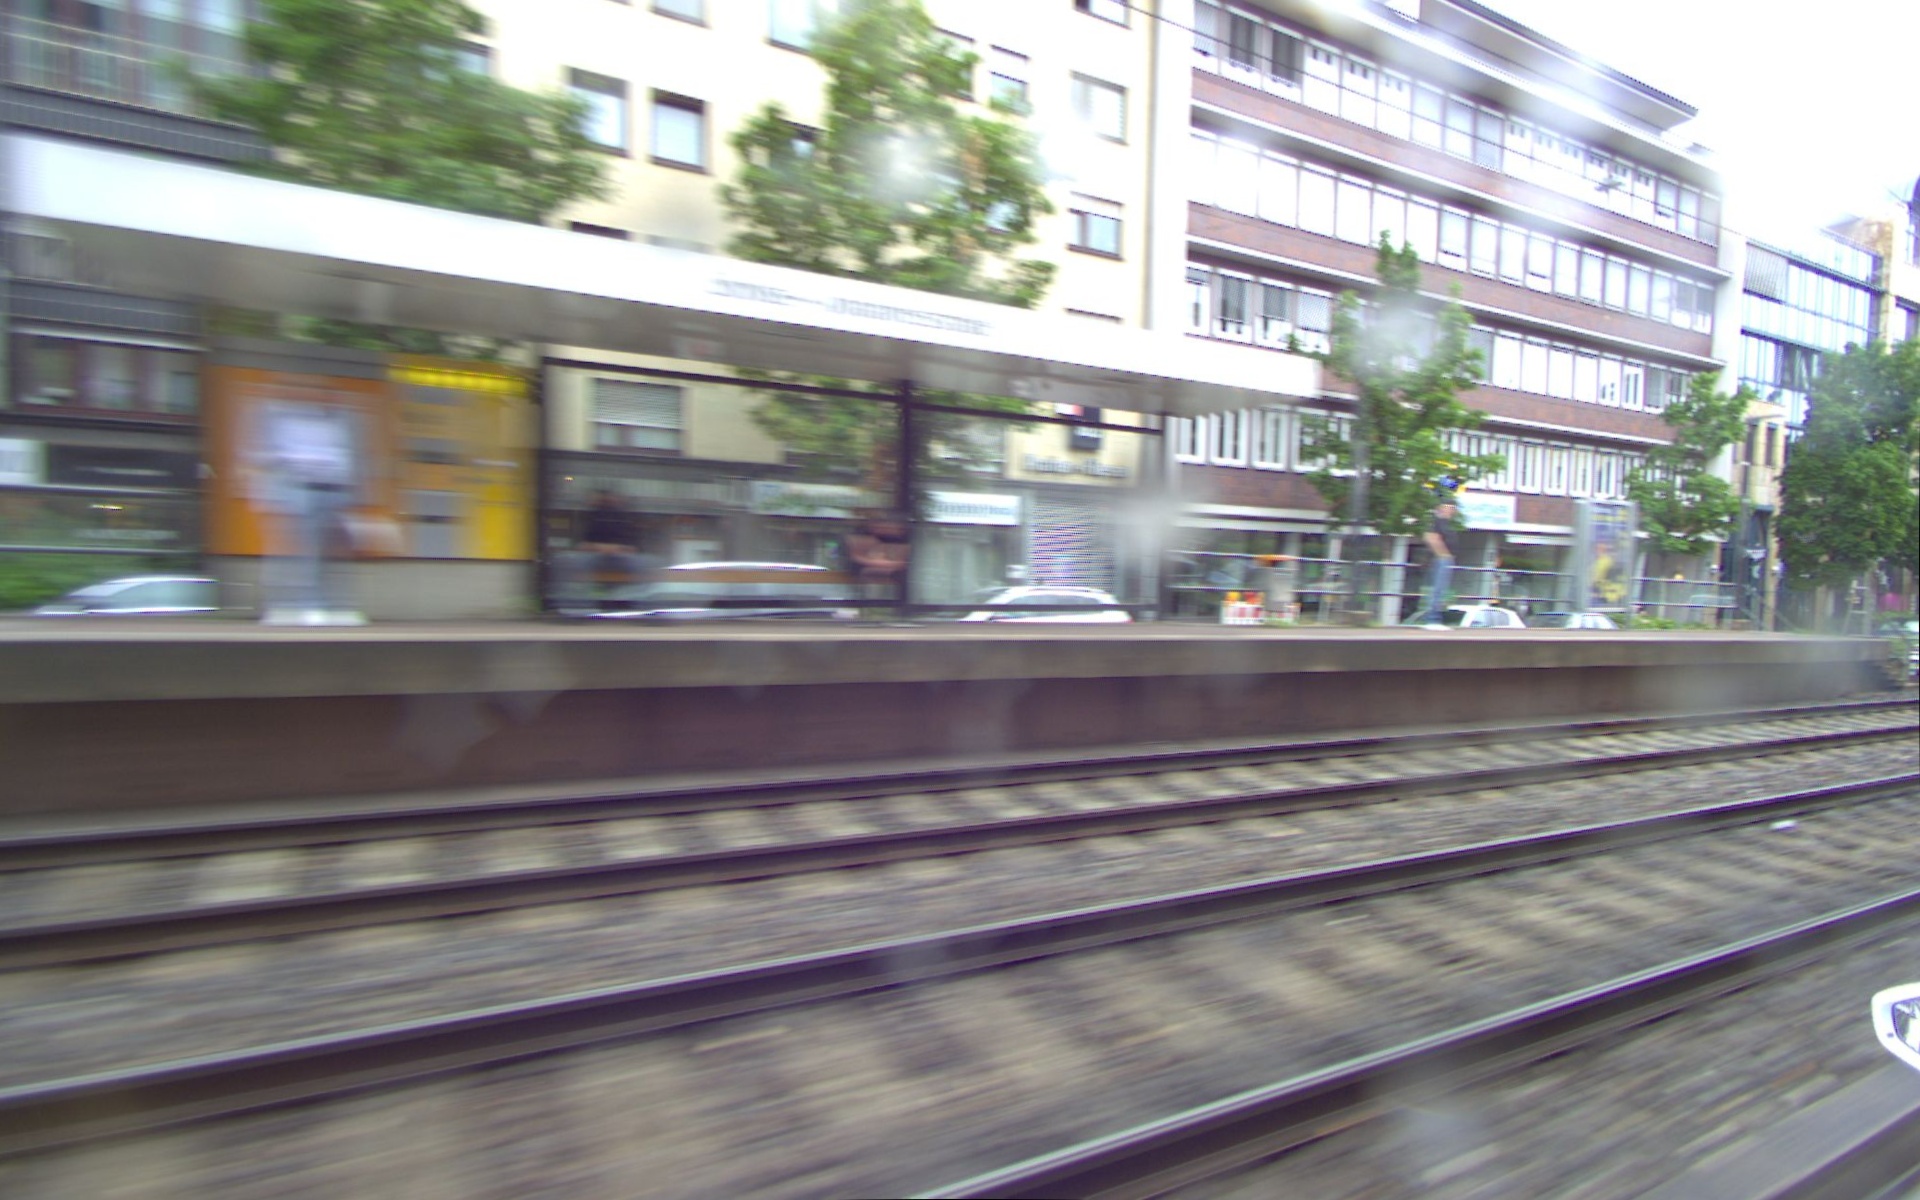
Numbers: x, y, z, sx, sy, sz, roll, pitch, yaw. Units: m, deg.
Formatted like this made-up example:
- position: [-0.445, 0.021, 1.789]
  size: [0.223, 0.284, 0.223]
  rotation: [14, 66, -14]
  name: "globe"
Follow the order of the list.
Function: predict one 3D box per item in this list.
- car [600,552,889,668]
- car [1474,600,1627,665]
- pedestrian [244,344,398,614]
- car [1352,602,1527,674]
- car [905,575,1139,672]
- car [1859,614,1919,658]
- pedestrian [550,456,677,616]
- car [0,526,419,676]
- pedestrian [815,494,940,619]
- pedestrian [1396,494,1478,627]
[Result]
- position: [-3.006, 0.152, 14.233]
  size: [3.696, 1.455, 1.559]
  rotation: [2, 1, -33]
  name: "car"
- position: [14.776, 0.802, 25.075]
  size: [4.132, 1.455, 1.559]
  rotation: [2, 1, -33]
  name: "car"
- position: [-4.435, -0.786, 7.014]
  size: [0.840, 1.734, 0.652]
  rotation: [1, 1, -32]
  name: "pedestrian"
- position: [10.827, 0.835, 22.610]
  size: [4.192, 1.455, 1.559]
  rotation: [2, 1, -33]
  name: "car"
- position: [1.077, 0.387, 16.848]
  size: [3.696, 1.455, 1.559]
  rotation: [2, 1, -33]
  name: "car"
- position: [33.846, 1.283, 35.831]
  size: [4.132, 1.455, 1.559]
  rotation: [2, 1, -33]
  name: "car"
- position: [-2.956, -0.515, 8.565]
  size: [0.874, 1.266, 0.689]
  rotation: [1, 1, -32]
  name: "pedestrian"
- position: [-8.413, 0.029, 11.341]
  size: [3.936, 1.455, 1.663]
  rotation: [2, 1, -33]
  name: "car"
- position: [-0.812, -0.406, 9.814]
  size: [0.843, 1.138, 0.884]
  rotation: [1, 1, -40]
  name: "pedestrian"
- position: [6.785, -0.543, 14.290]
  size: [0.840, 1.826, 0.652]
  rotation: [1, 1, -32]
  name: "pedestrian"
